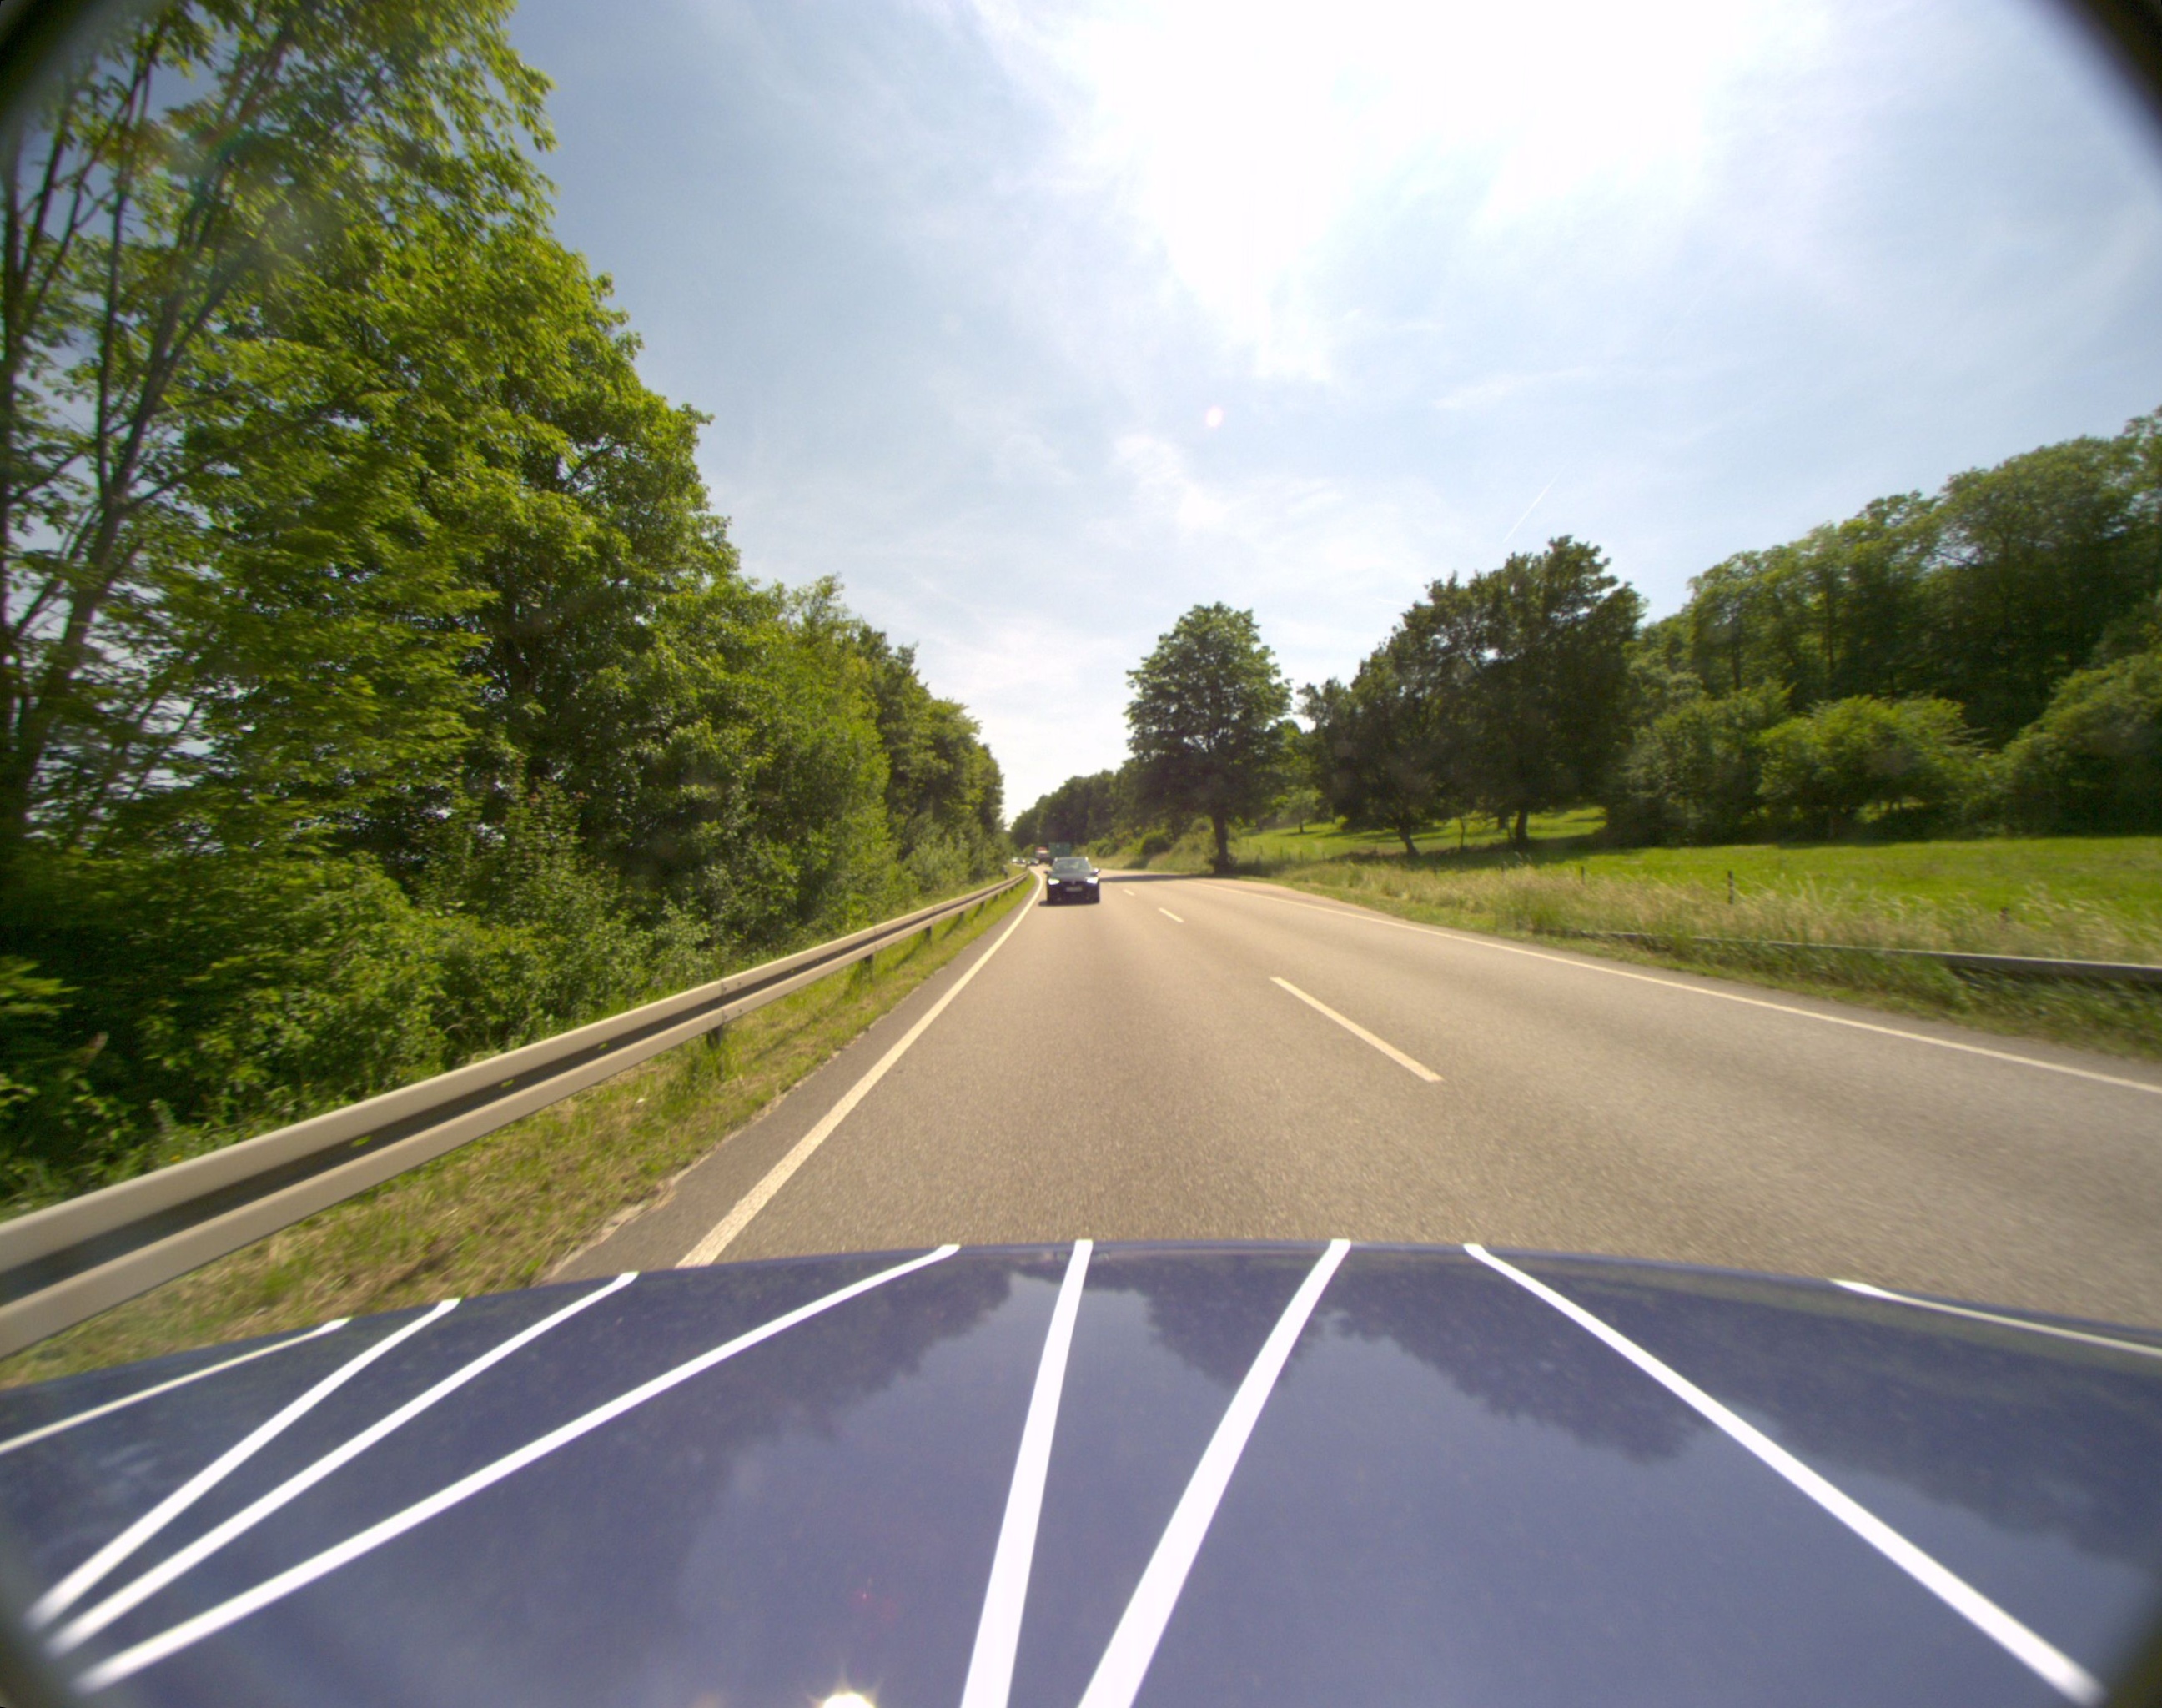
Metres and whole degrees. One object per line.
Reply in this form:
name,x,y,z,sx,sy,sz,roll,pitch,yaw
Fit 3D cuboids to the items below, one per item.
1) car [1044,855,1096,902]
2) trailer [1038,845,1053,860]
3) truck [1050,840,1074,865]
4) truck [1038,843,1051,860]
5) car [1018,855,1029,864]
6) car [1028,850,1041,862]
car,-0.463,0.866,27.899,1.662,1.531,3.485,-3,0,-4
trailer,-7.320,-0.334,157.703,2.651,2.856,7.073,-2,1,-6
truck,-3.363,-0.168,127.554,2.568,3.916,16.151,-3,0,-6
truck,-7.987,-0.528,164.760,2.538,3.539,7.757,-2,1,-5
car,-12.829,1.198,169.514,2.000,2.002,3.997,-3,1,-8
car,-8.198,0.304,133.976,1.999,2.002,3.998,-3,1,-5
